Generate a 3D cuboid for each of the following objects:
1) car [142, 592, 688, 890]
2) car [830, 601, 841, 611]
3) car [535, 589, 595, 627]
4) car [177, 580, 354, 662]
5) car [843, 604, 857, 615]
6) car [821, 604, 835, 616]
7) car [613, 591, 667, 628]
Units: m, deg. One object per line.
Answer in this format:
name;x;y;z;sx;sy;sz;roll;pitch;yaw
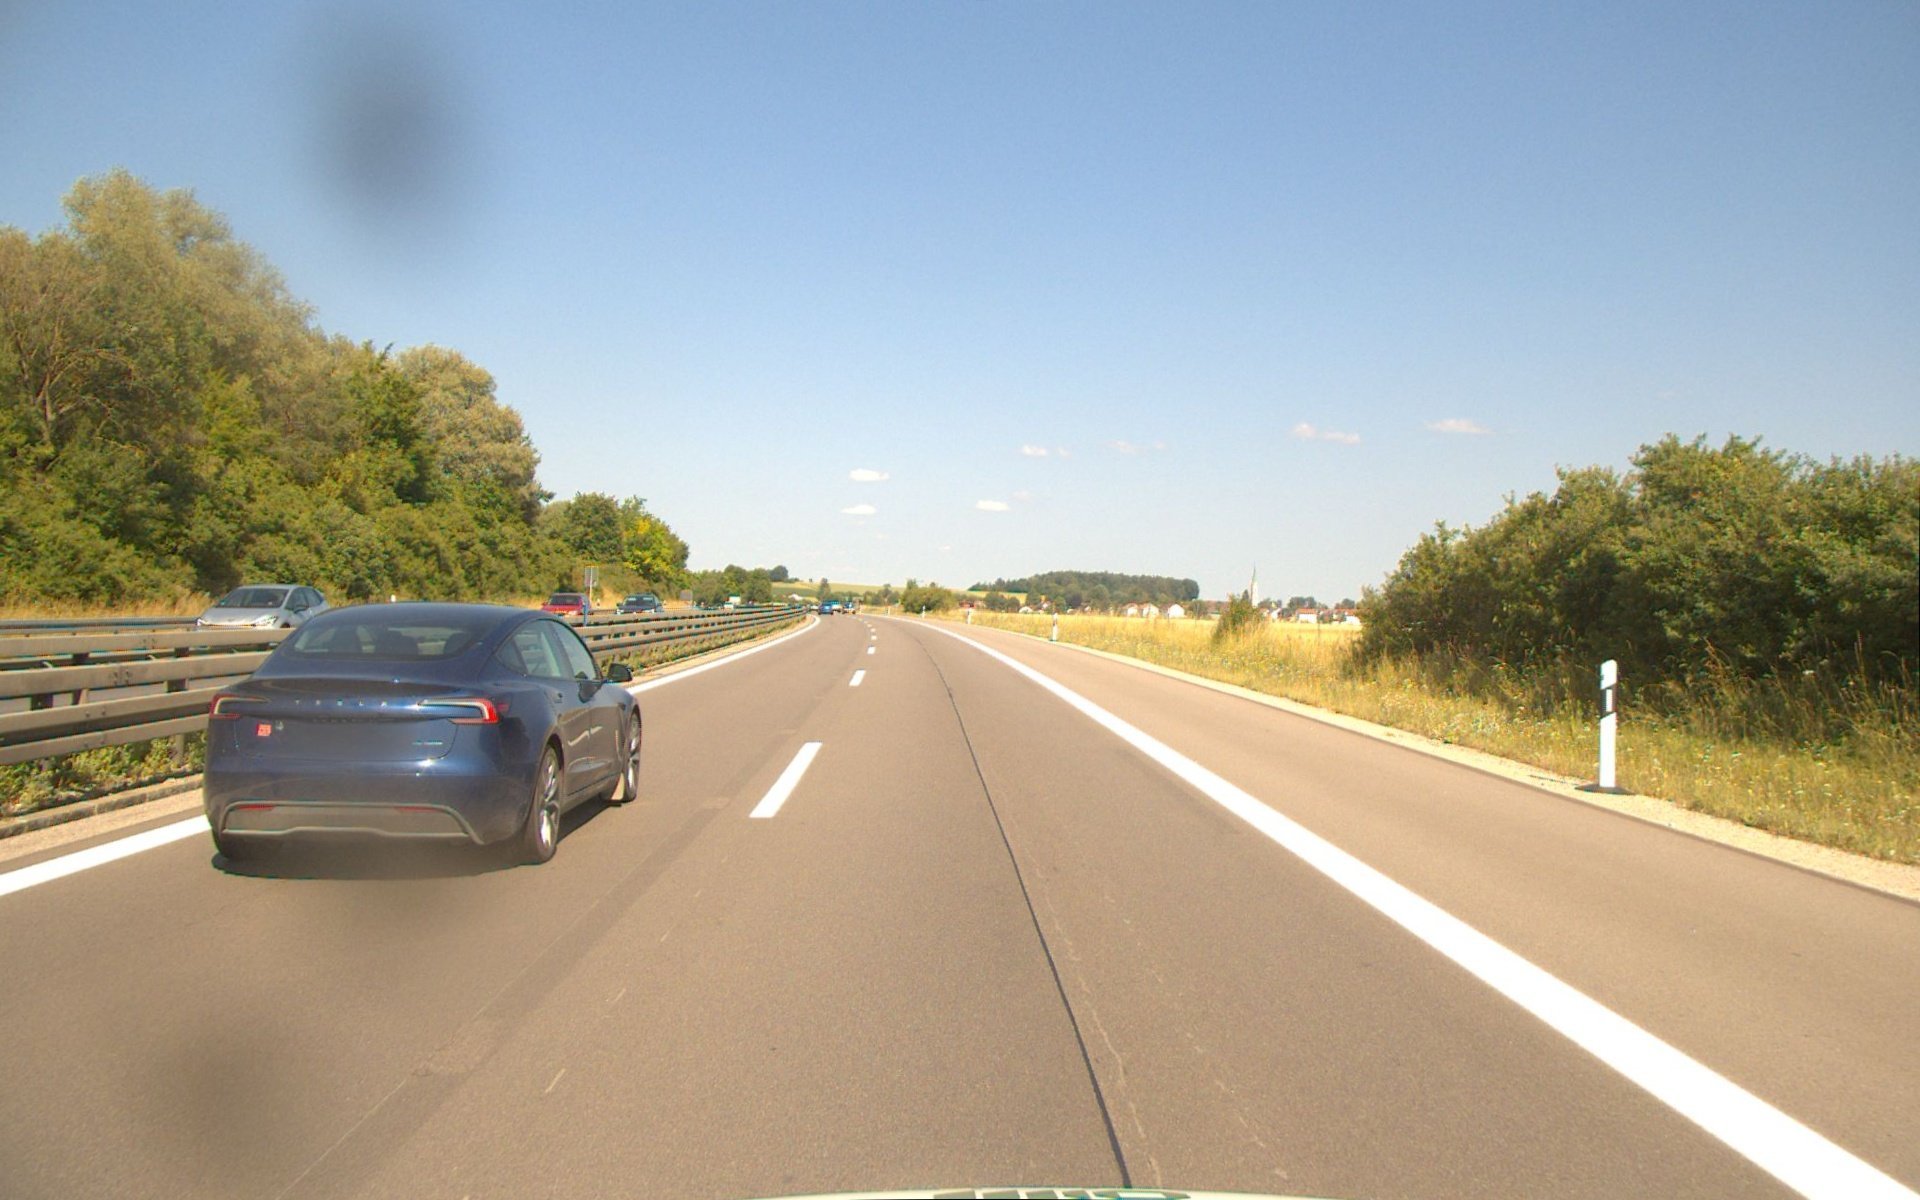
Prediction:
car;-3.159;0.690;11.065;1.810;1.458;5.864;0;0;-1
car;-19.318;0.883;255.900;1.643;1.479;3.588;1;0;-4
car;-16.834;0.328;70.631;1.616;1.519;4.537;1;0;-3
car;-15.015;0.422;36.055;1.953;1.640;4.635;1;0;-1
car;-14.261;1.251;214.559;1.644;1.479;3.587;1;0;-6
car;-16.145;1.217;201.863;1.643;1.479;3.588;1;0;-4
car;-13.806;0.401;71.454;1.616;1.519;4.537;1;0;-3
